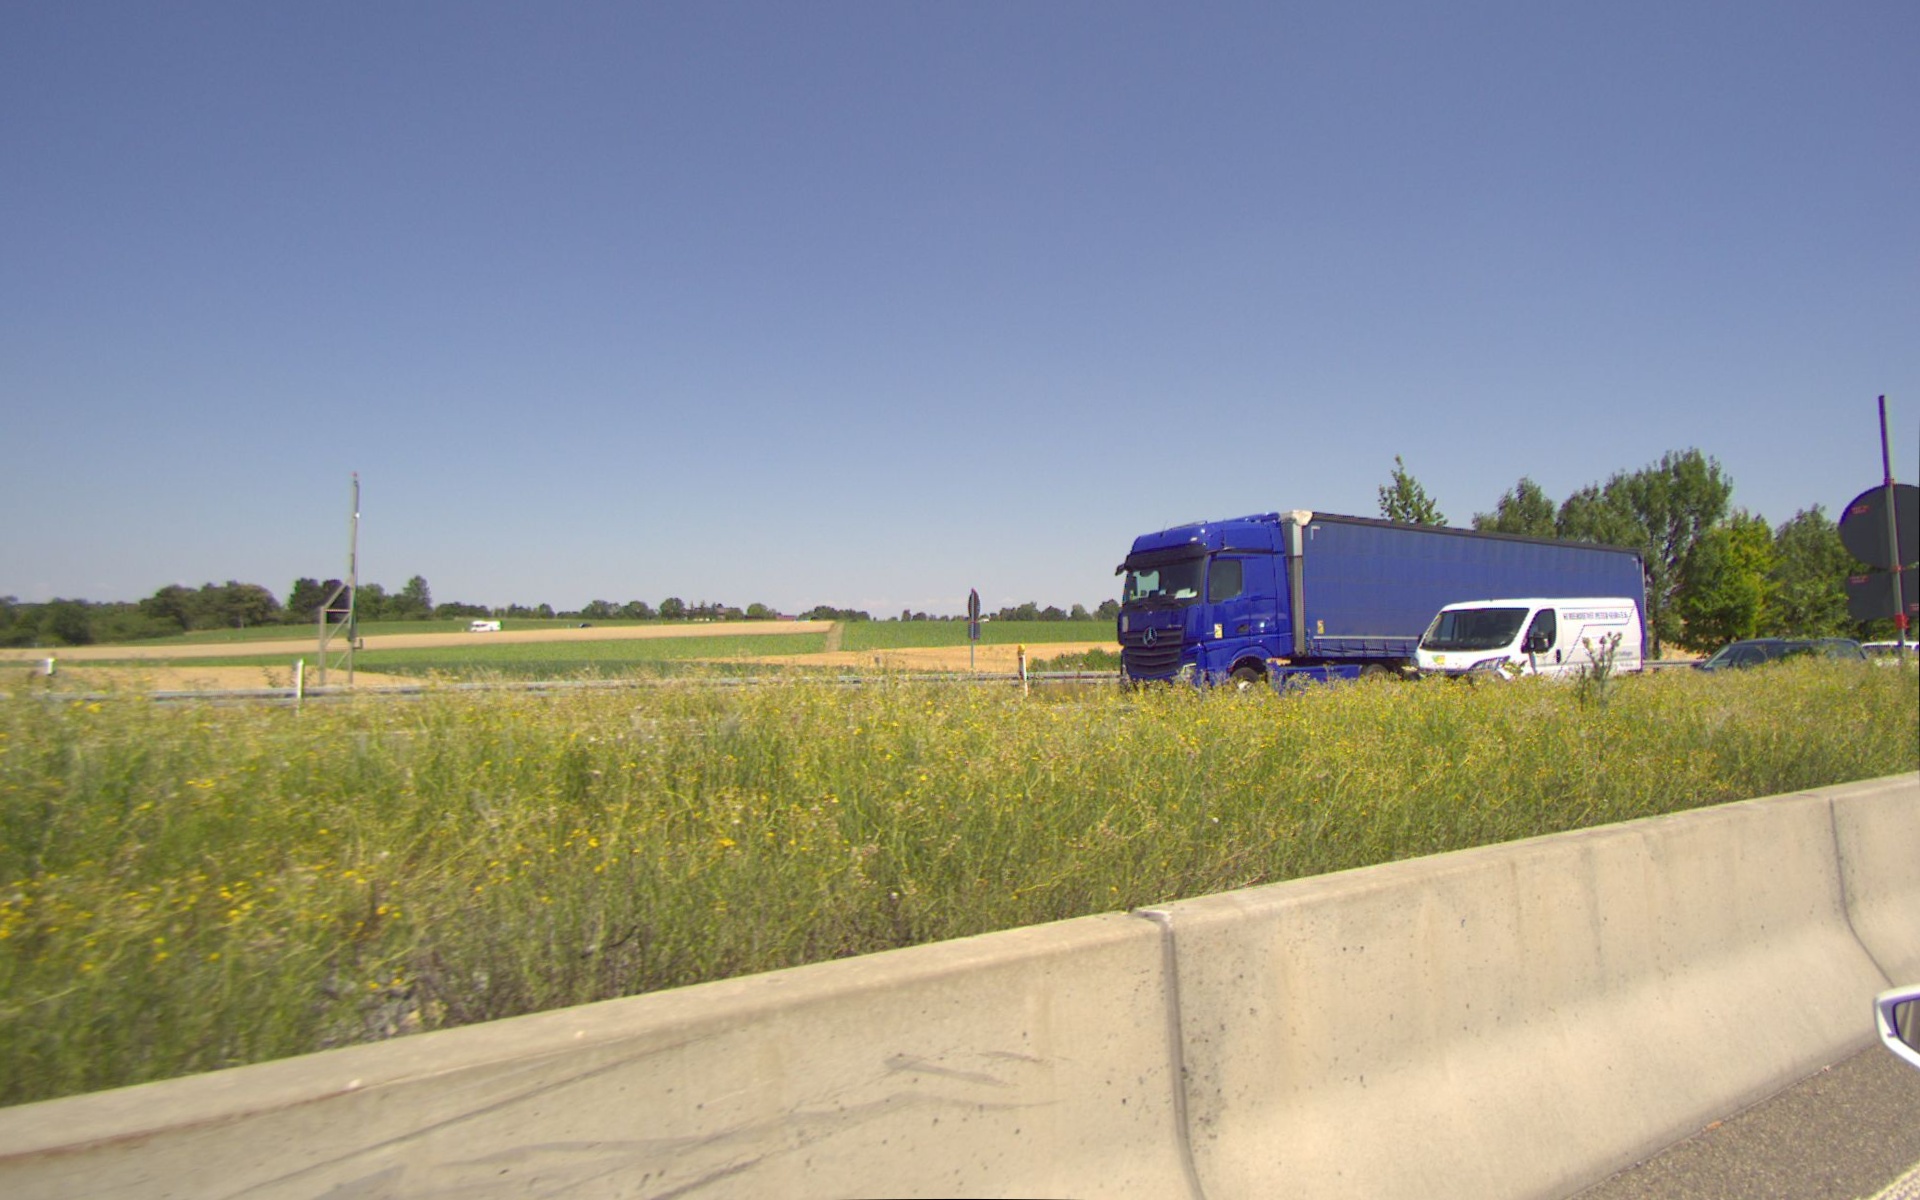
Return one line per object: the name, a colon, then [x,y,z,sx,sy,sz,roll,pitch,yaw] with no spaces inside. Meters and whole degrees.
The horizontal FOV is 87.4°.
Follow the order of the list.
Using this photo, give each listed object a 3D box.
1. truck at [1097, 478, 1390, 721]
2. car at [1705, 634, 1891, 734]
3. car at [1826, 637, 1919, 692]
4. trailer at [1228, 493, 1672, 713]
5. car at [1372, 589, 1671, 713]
truck: [5.900,0.082,20.863,5.520,4.407,2.852,1,-2,-30]
car: [13.692,1.304,16.389,3.159,1.488,1.378,1,-2,-31]
car: [26.681,1.816,28.882,3.820,1.483,1.609,1,-2,-31]
trailer: [12.557,0.230,24.788,13.481,4.407,2.870,1,-2,-30]
car: [10.540,0.919,18.752,5.691,2.040,2.176,1,-2,-28]
